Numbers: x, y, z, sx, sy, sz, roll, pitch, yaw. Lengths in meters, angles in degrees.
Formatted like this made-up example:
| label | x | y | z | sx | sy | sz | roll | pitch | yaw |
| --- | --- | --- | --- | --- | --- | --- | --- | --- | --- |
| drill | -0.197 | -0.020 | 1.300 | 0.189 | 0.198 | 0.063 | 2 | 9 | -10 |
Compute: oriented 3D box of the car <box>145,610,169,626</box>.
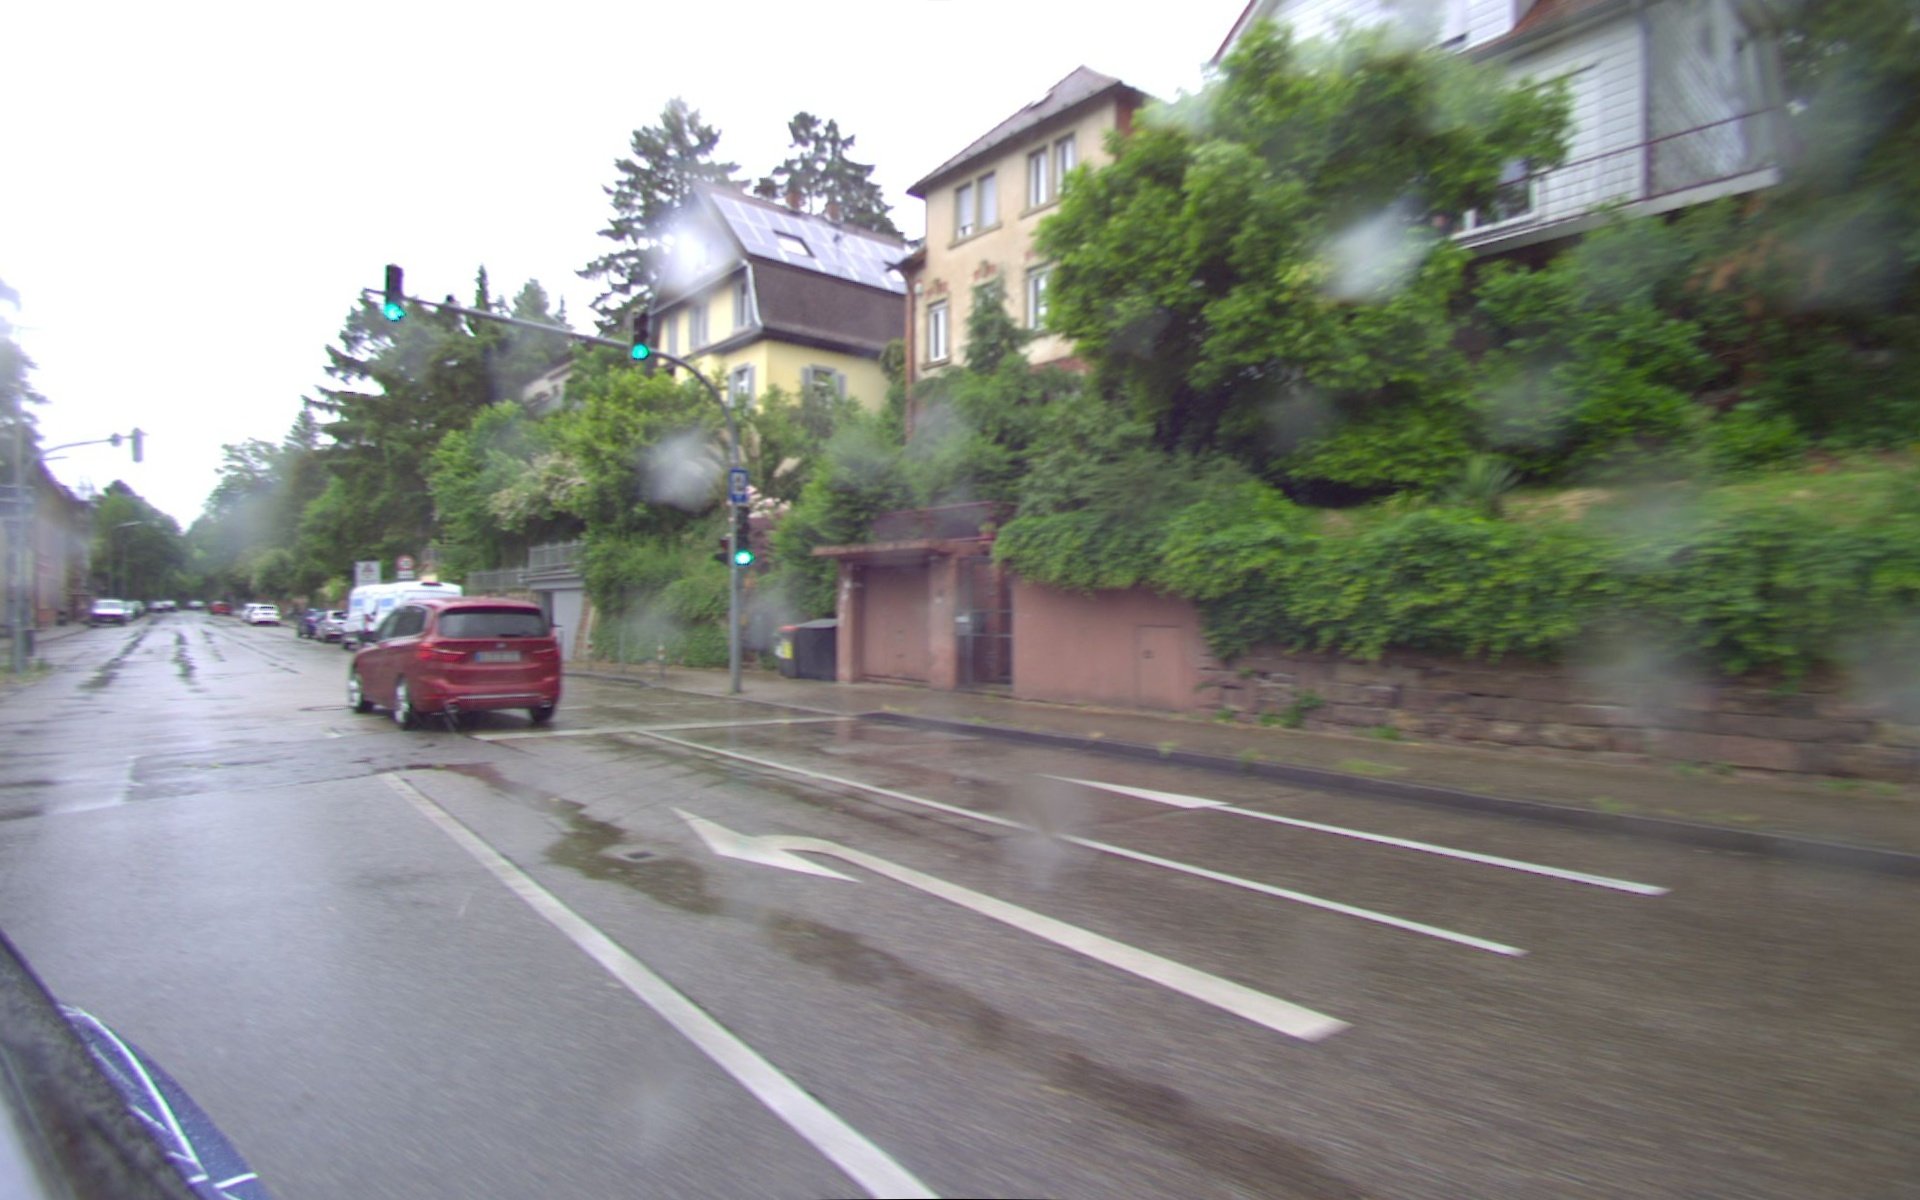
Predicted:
| label | x | y | z | sx | sy | sz | roll | pitch | yaw |
| --- | --- | --- | --- | --- | --- | --- | --- | --- | --- |
| car | -102.013 | 2.252 | 128.573 | 1.894 | 1.914 | 4.011 | -1 | 0 | -32 |

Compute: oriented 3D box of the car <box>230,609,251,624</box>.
| label | x | y | z | sx | sy | sz | roll | pitch | yaw |
| --- | --- | --- | --- | --- | --- | --- | --- | --- | --- |
| car | -97.334 | 2.203 | 136.951 | 1.893 | 1.914 | 4.012 | -1 | 0 | -29 |

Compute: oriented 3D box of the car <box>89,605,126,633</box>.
| label | x | y | z | sx | sy | sz | roll | pitch | yaw |
| --- | --- | --- | --- | --- | --- | --- | --- | --- | --- |
| car | -60.993 | 1.363 | 72.427 | 1.896 | 1.914 | 4.008 | -1 | 0 | -38 |

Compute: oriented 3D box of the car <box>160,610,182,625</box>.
| label | x | y | z | sx | sy | sz | roll | pitch | yaw |
| --- | --- | --- | --- | --- | --- | --- | --- | --- | --- |
| car | -107.060 | 2.317 | 137.316 | 1.894 | 1.914 | 4.012 | -1 | 0 | -31 |

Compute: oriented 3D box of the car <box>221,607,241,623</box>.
| label | x | y | z | sx | sy | sz | roll | pitch | yaw |
| --- | --- | --- | --- | --- | --- | --- | --- | --- | --- |
| car | -92.741 | 1.920 | 128.800 | 1.894 | 1.914 | 4.011 | -1 | 0 | -33 |

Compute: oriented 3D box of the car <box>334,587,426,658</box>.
| label | x | y | z | sx | sy | sz | roll | pitch | yaw |
| --- | --- | --- | --- | --- | --- | --- | --- | --- | --- |
| car | -22.110 | 0.846 | 38.495 | 2.129 | 2.487 | 4.925 | 4 | -3 | -39 |

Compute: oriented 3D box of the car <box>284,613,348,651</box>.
| label | x | y | z | sx | sy | sz | roll | pitch | yaw |
| --- | --- | --- | --- | --- | --- | --- | --- | --- | --- |
| car | -33.364 | 1.628 | 52.369 | 2.129 | 1.840 | 4.925 | 4 | -3 | -39 |

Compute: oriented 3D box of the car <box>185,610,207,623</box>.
| label | x | y | z | sx | sy | sz | roll | pitch | yaw |
| --- | --- | --- | --- | --- | --- | --- | --- | --- | --- |
| car | -115.434 | 2.423 | 152.935 | 1.893 | 1.914 | 4.013 | -1 | 0 | -26 |

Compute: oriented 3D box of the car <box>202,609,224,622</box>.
| label | x | y | z | sx | sy | sz | roll | pitch | yaw |
| --- | --- | --- | --- | --- | --- | --- | --- | --- | --- |
| car | -119.805 | 2.479 | 162.342 | 1.893 | 1.914 | 4.013 | -1 | 0 | -24 |

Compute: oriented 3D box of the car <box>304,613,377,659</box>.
| label | x | y | z | sx | sy | sz | roll | pitch | yaw |
| --- | --- | --- | --- | --- | --- | --- | --- | --- | --- |
| car | -29.005 | 1.645 | 47.313 | 2.129 | 1.971 | 4.925 | 4 | -3 | -39 |

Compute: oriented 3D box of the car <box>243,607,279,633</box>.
| label | x | y | z | sx | sy | sz | roll | pitch | yaw |
| --- | --- | --- | --- | --- | --- | --- | --- | --- | --- |
| car | -50.528 | 1.400 | 73.096 | 1.896 | 1.770 | 4.008 | -1 | 0 | -38 |

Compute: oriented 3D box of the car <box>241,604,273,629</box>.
| label | x | y | z | sx | sy | sz | roll | pitch | yaw |
| --- | --- | --- | --- | --- | --- | --- | --- | --- | --- |
| car | -56.840 | 1.300 | 81.770 | 1.896 | 1.914 | 4.008 | -1 | 0 | -38 |

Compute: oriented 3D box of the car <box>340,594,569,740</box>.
| label | x | y | z | sx | sy | sz | roll | pitch | yaw |
| --- | --- | --- | --- | --- | --- | --- | --- | --- | --- |
| car | -6.822 | 0.770 | 13.439 | 1.766 | 1.622 | 4.099 | 1 | -1 | -41 |

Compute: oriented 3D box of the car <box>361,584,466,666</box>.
| label | x | y | z | sx | sy | sz | roll | pitch | yaw |
| --- | --- | --- | --- | --- | --- | --- | --- | --- | --- |
| car | -18.185 | 0.821 | 33.540 | 2.053 | 2.497 | 4.862 | 4 | -3 | -39 |
